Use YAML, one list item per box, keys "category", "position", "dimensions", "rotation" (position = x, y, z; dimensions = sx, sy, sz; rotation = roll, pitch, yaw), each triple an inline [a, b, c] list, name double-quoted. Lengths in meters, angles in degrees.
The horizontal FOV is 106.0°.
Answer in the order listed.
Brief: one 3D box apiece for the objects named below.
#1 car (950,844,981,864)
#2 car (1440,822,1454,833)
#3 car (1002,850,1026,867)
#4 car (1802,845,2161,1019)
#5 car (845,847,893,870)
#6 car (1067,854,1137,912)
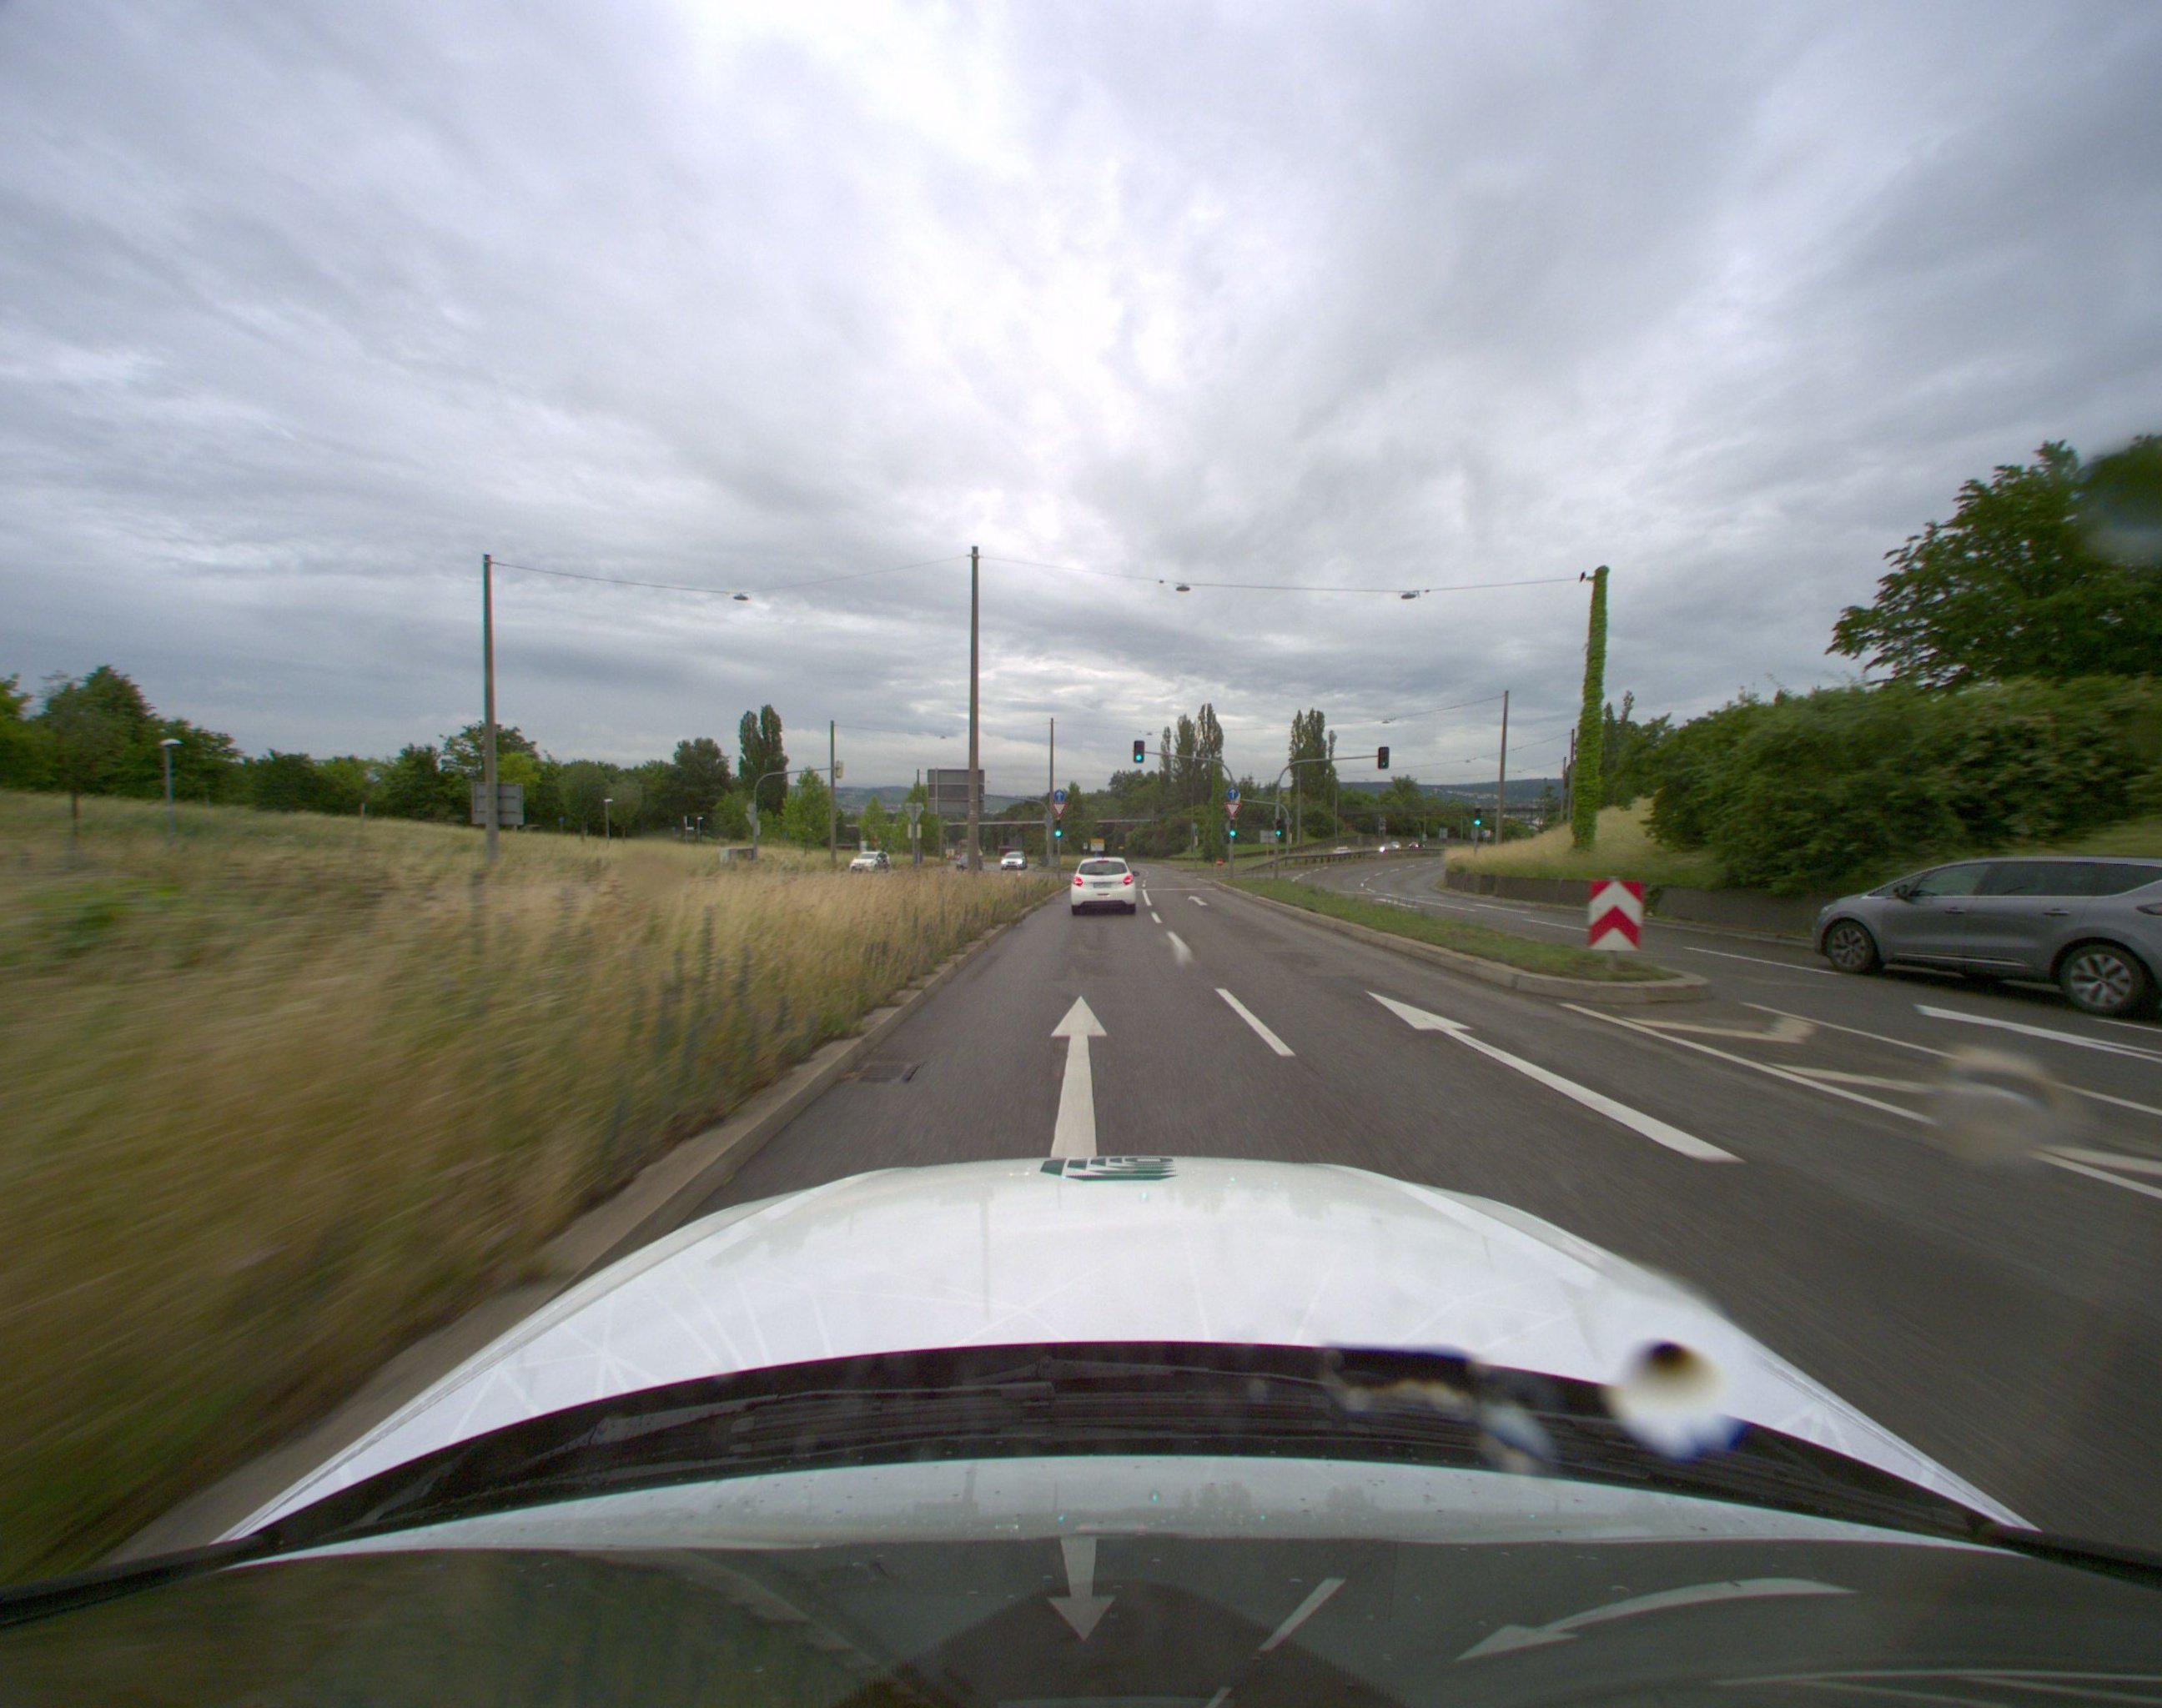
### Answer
- category: "car"
  position: [-9.195, 0.043, 65.044]
  dimensions: [1.889, 1.537, 3.999]
  rotation: [0, -1, 0]
- category: "car"
  position: [71.894, -5.233, 160.020]
  dimensions: [2.055, 2.083, 4.400]
  rotation: [2, 4, 29]
- category: "car"
  position: [-5.511, 0.387, 67.539]
  dimensions: [1.732, 1.373, 3.998]
  rotation: [0, -1, -1]
- category: "car"
  position: [11.246, 0.793, 9.550]
  dimensions: [1.717, 1.649, 4.630]
  rotation: [2, 0, 4]
- category: "car"
  position: [-15.345, 0.358, 59.267]
  dimensions: [1.876, 1.611, 4.683]
  rotation: [1, -1, 5]
- category: "car"
  position: [0.661, 0.756, 22.281]
  dimensions: [1.701, 1.440, 3.694]
  rotation: [-1, -1, 4]
